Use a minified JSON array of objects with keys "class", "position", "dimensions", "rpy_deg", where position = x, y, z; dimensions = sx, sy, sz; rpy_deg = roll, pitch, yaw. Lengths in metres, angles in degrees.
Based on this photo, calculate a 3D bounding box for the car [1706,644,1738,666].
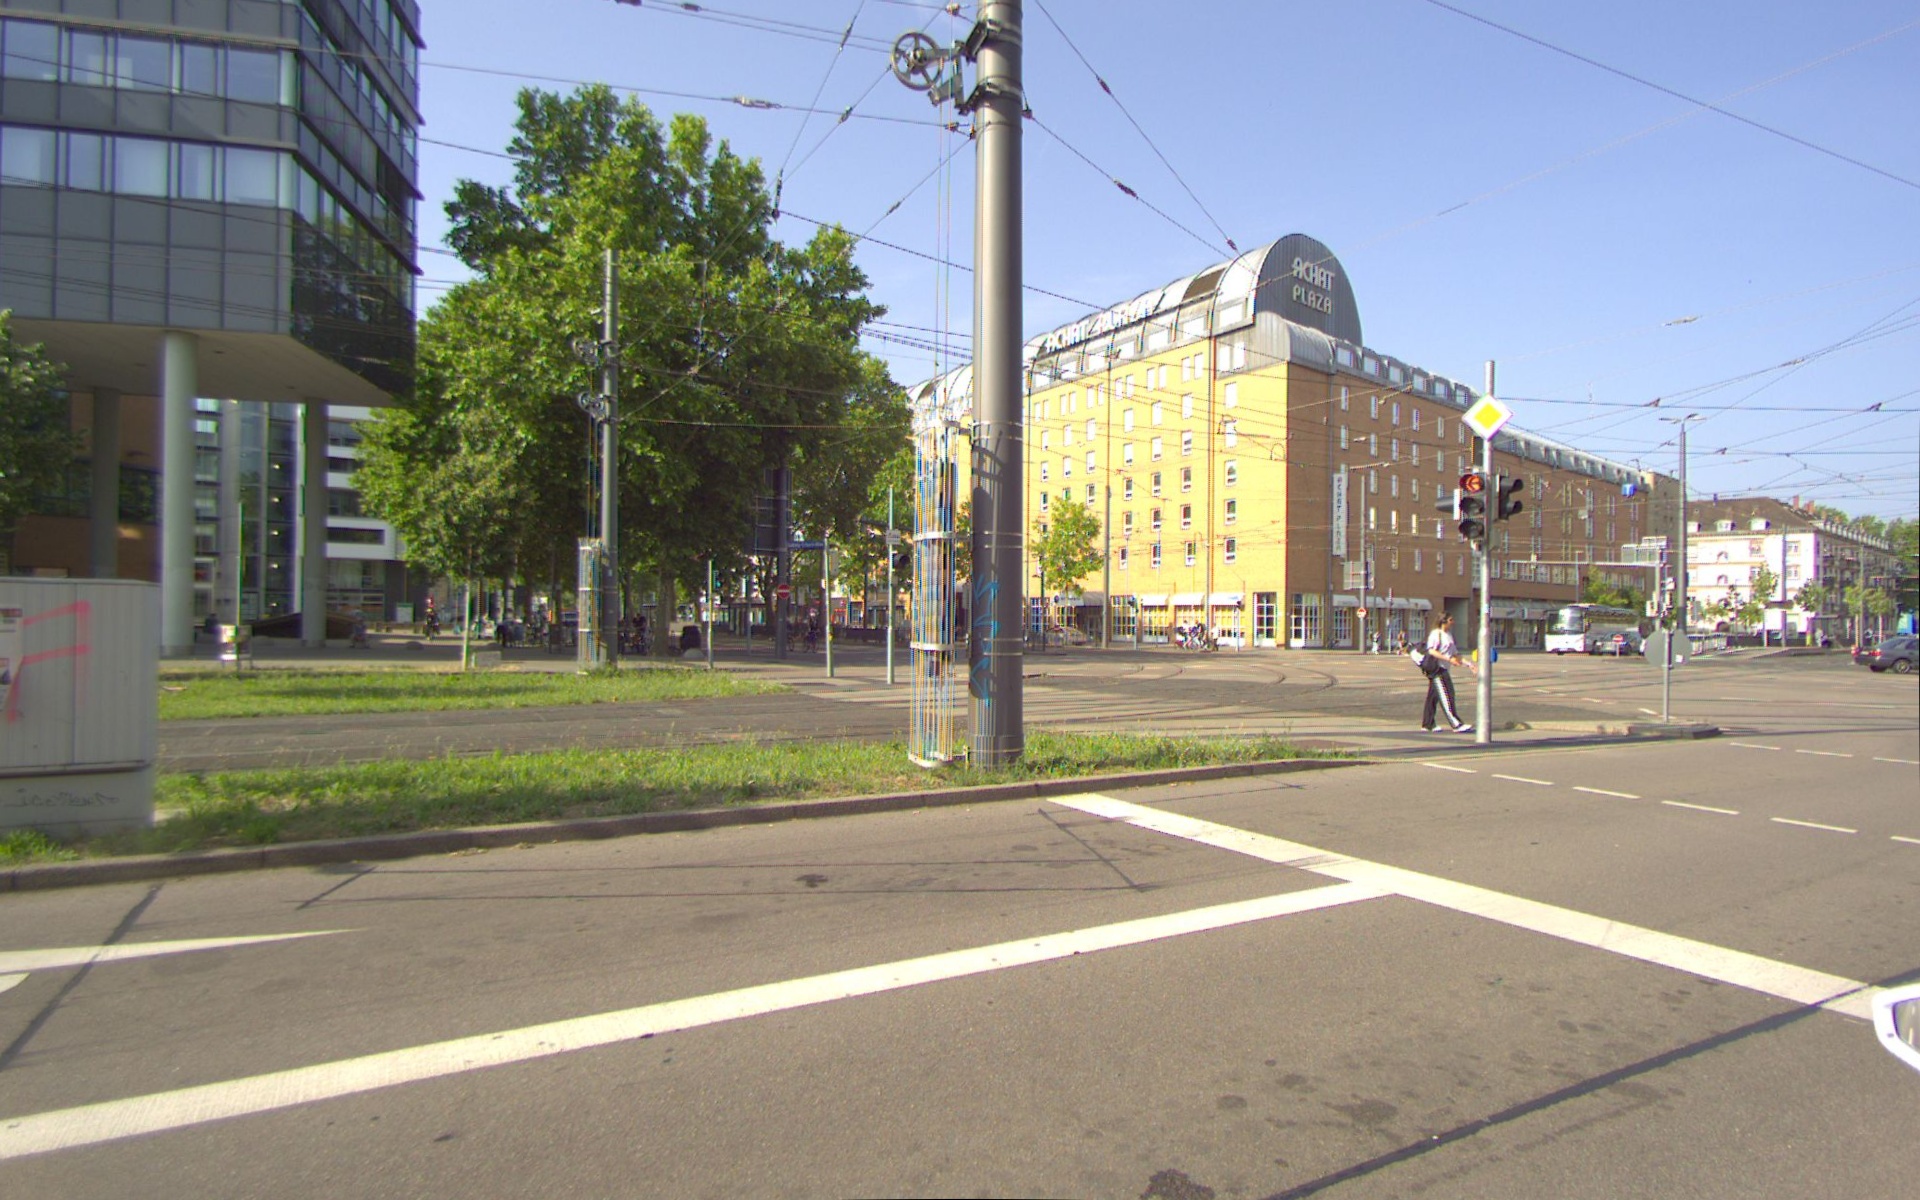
[{"class":"car","position":[56.875,4.109,74.929],"dimensions":[2.721,1.500,1.379],"rpy_deg":[4,-2,-41]}]

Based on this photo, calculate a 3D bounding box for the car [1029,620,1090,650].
[{"class":"car","position":[7.257,2.544,73.623],"dimensions":[1.981,2.040,4.569],"rpy_deg":[1,-1,-36]}]

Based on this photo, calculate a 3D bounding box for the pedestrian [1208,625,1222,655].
[{"class":"pedestrian","position":[17.038,2.653,67.147],"dimensions":[0.735,1.979,0.883],"rpy_deg":[0,-1,23]}]

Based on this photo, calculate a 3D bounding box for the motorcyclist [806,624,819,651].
[{"class":"motorcyclist","position":[-7.416,1.894,50.350],"dimensions":[0.414,1.339,0.527],"rpy_deg":[3,-2,-36]}]

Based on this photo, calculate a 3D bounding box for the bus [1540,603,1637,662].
[{"class":"bus","position":[46.630,2.487,74.309],"dimensions":[12.126,3.972,2.722],"rpy_deg":[4,-3,-42]}]

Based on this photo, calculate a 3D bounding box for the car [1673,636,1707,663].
[{"class":"car","position":[50.476,3.427,69.450],"dimensions":[2.585,1.783,1.200],"rpy_deg":[3,-2,-37]}]

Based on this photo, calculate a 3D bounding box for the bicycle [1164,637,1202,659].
[{"class":"bicycle","position":[13.505,2.902,60.766],"dimensions":[2.250,1.222,0.548],"rpy_deg":[3,-2,-17]}]

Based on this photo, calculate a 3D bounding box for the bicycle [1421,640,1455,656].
[{"class":"bicycle","position":[30.653,3.079,64.480],"dimensions":[0.417,0.982,1.941],"rpy_deg":[3,-2,-43]}]

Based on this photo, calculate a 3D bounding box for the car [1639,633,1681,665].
[{"class":"car","position":[45.622,3.199,65.443],"dimensions":[2.708,2.040,1.588],"rpy_deg":[4,-2,-40]}]

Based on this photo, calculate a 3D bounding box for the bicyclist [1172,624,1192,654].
[{"class":"bicyclist","position":[13.398,2.341,60.740],"dimensions":[0.952,1.769,0.664],"rpy_deg":[2,-2,-16]}]

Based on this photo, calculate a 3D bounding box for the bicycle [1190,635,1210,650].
[{"class":"bicycle","position":[15.204,2.679,63.601],"dimensions":[1.381,0.883,0.344],"rpy_deg":[3,-2,-31]}]

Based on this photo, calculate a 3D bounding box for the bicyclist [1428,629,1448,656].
[{"class":"bicyclist","position":[30.671,2.712,64.495],"dimensions":[0.666,1.718,0.977],"rpy_deg":[3,-2,-43]}]

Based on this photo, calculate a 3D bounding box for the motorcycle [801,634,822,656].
[{"class":"motorcycle","position":[-7.445,2.252,50.361],"dimensions":[0.281,1.008,1.678],"rpy_deg":[3,-2,-35]}]

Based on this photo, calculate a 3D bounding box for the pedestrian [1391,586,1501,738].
[{"class":"pedestrian","position":[6.859,0.854,14.195],"dimensions":[0.769,2.040,1.146],"rpy_deg":[3,-2,-38]}]

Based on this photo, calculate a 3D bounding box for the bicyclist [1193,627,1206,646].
[{"class":"bicyclist","position":[15.179,2.294,63.588],"dimensions":[0.603,1.144,0.519],"rpy_deg":[3,-2,-30]}]

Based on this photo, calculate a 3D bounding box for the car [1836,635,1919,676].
[{"class":"car","position":[37.623,2.218,39.648],"dimensions":[4.137,1.506,2.001],"rpy_deg":[1,-2,18]}]

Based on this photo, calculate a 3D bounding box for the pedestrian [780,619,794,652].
[{"class":"pedestrian","position":[-9.134,1.871,52.975],"dimensions":[0.504,1.748,0.527],"rpy_deg":[3,-2,-36]}]

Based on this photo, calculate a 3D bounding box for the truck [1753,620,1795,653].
[{"class":"truck","position":[69.939,3.127,86.287],"dimensions":[4.703,2.632,1.976],"rpy_deg":[4,-2,-41]}]
